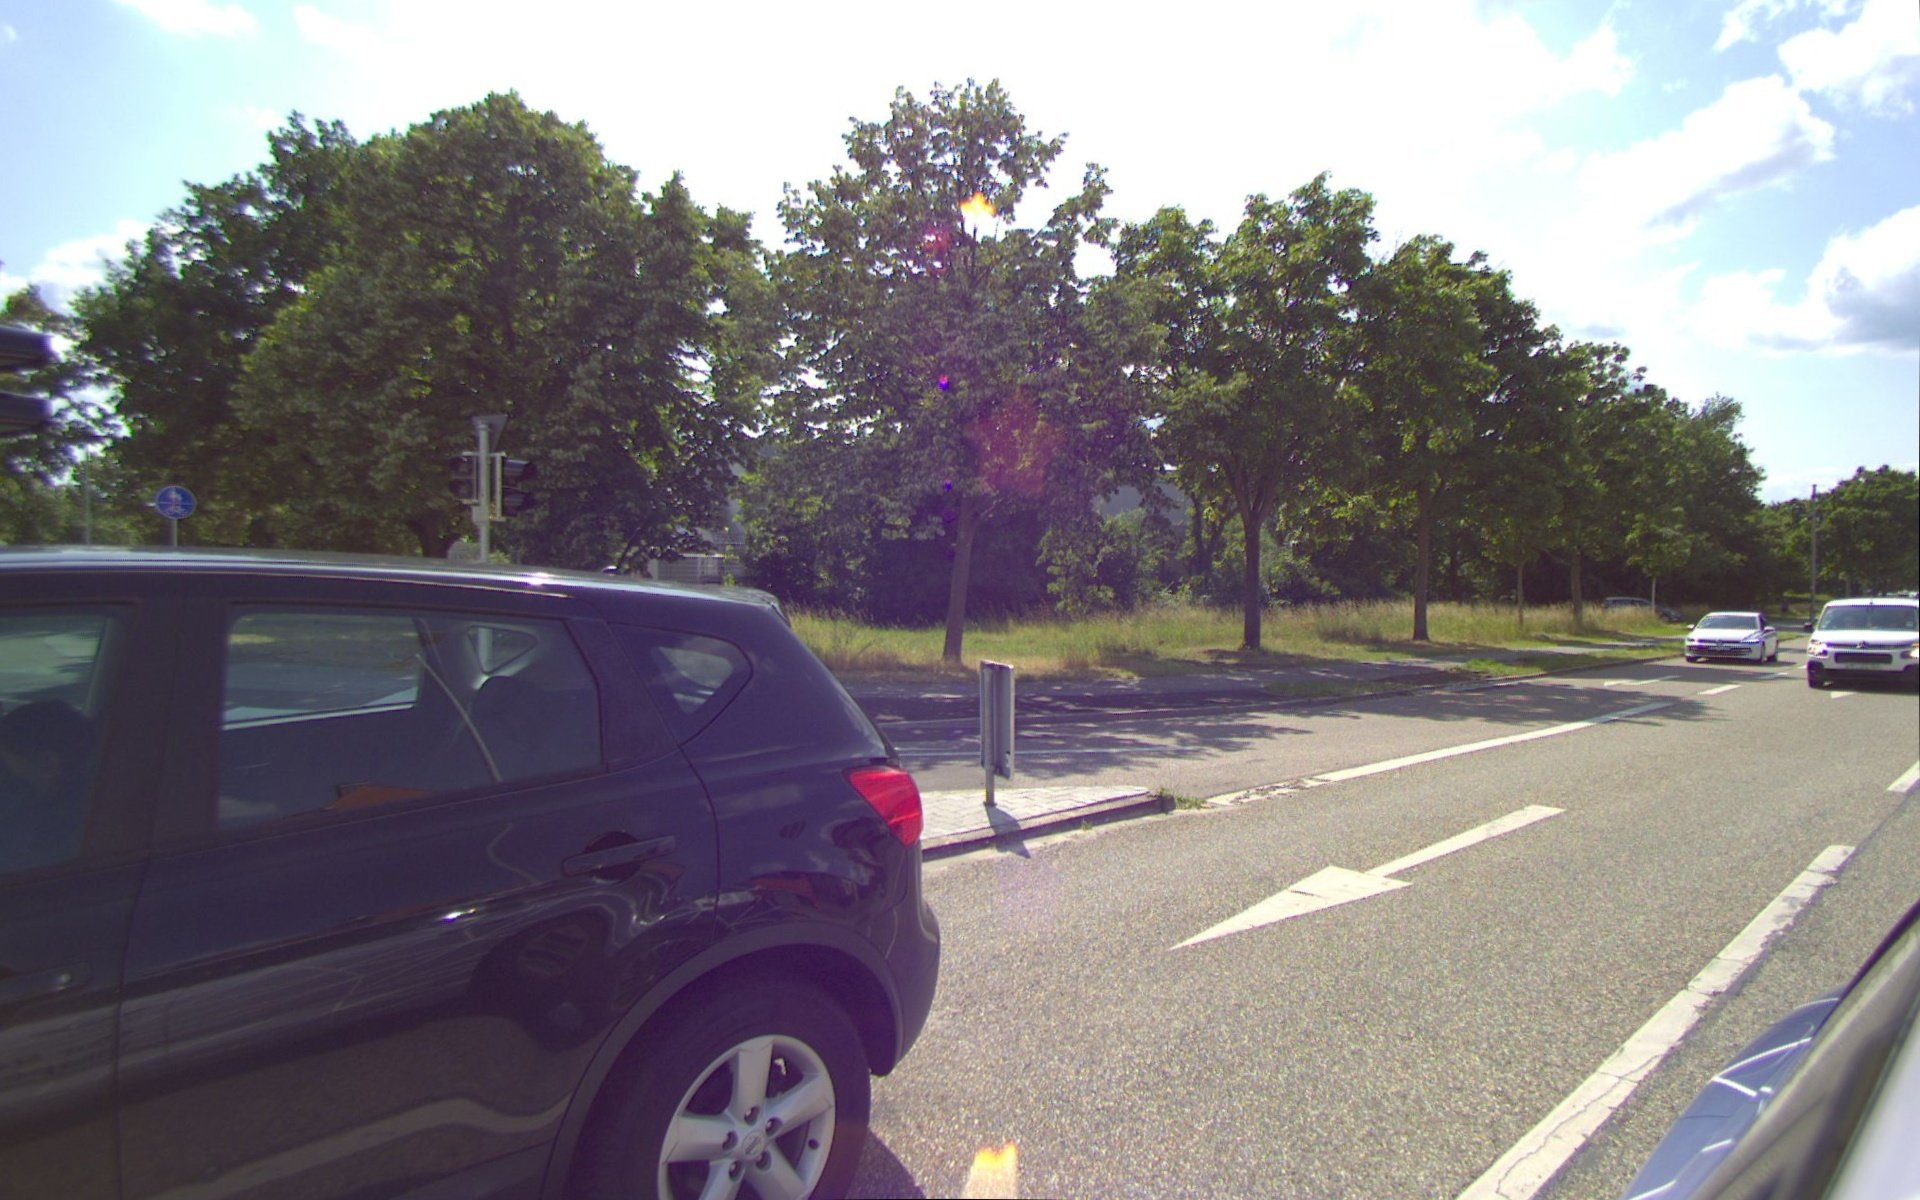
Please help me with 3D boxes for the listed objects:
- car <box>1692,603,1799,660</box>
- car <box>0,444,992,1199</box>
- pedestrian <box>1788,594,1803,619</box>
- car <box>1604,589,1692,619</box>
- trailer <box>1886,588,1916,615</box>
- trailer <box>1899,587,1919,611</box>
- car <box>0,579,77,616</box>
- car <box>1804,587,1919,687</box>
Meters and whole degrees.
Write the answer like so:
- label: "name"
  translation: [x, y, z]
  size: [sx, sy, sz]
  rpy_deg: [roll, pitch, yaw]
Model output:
- label: "car"
  translation: [22.707, 0.862, 29.207]
  size: [4.021, 1.505, 1.735]
  rpy_deg: [0, 0, -42]
- label: "car"
  translation: [-1.984, 0.604, 1.859]
  size: [3.932, 1.572, 1.801]
  rpy_deg: [-1, -1, -43]
- label: "pedestrian"
  translation: [62.648, 0.481, 75.886]
  size: [0.728, 1.817, 0.717]
  rpy_deg: [-1, -1, -45]
- label: "car"
  translation: [41.687, 0.228, 61.392]
  size: [4.163, 1.511, 1.757]
  rpy_deg: [5, 1, 43]
- label: "trailer"
  translation: [87.611, 0.100, 94.181]
  size: [1.953, 2.380, 4.533]
  rpy_deg: [2, 2, 44]
- label: "trailer"
  translation: [102.282, -0.100, 108.476]
  size: [4.704, 2.393, 1.996]
  rpy_deg: [-1, 5, -45]
- label: "car"
  translation: [-32.765, -0.094, 35.947]
  size: [1.884, 1.193, 3.768]
  rpy_deg: [-1, -1, -44]
- label: "car"
  translation: [18.550, 0.681, 20.291]
  size: [4.636, 1.808, 1.932]
  rpy_deg: [0, -2, -43]
